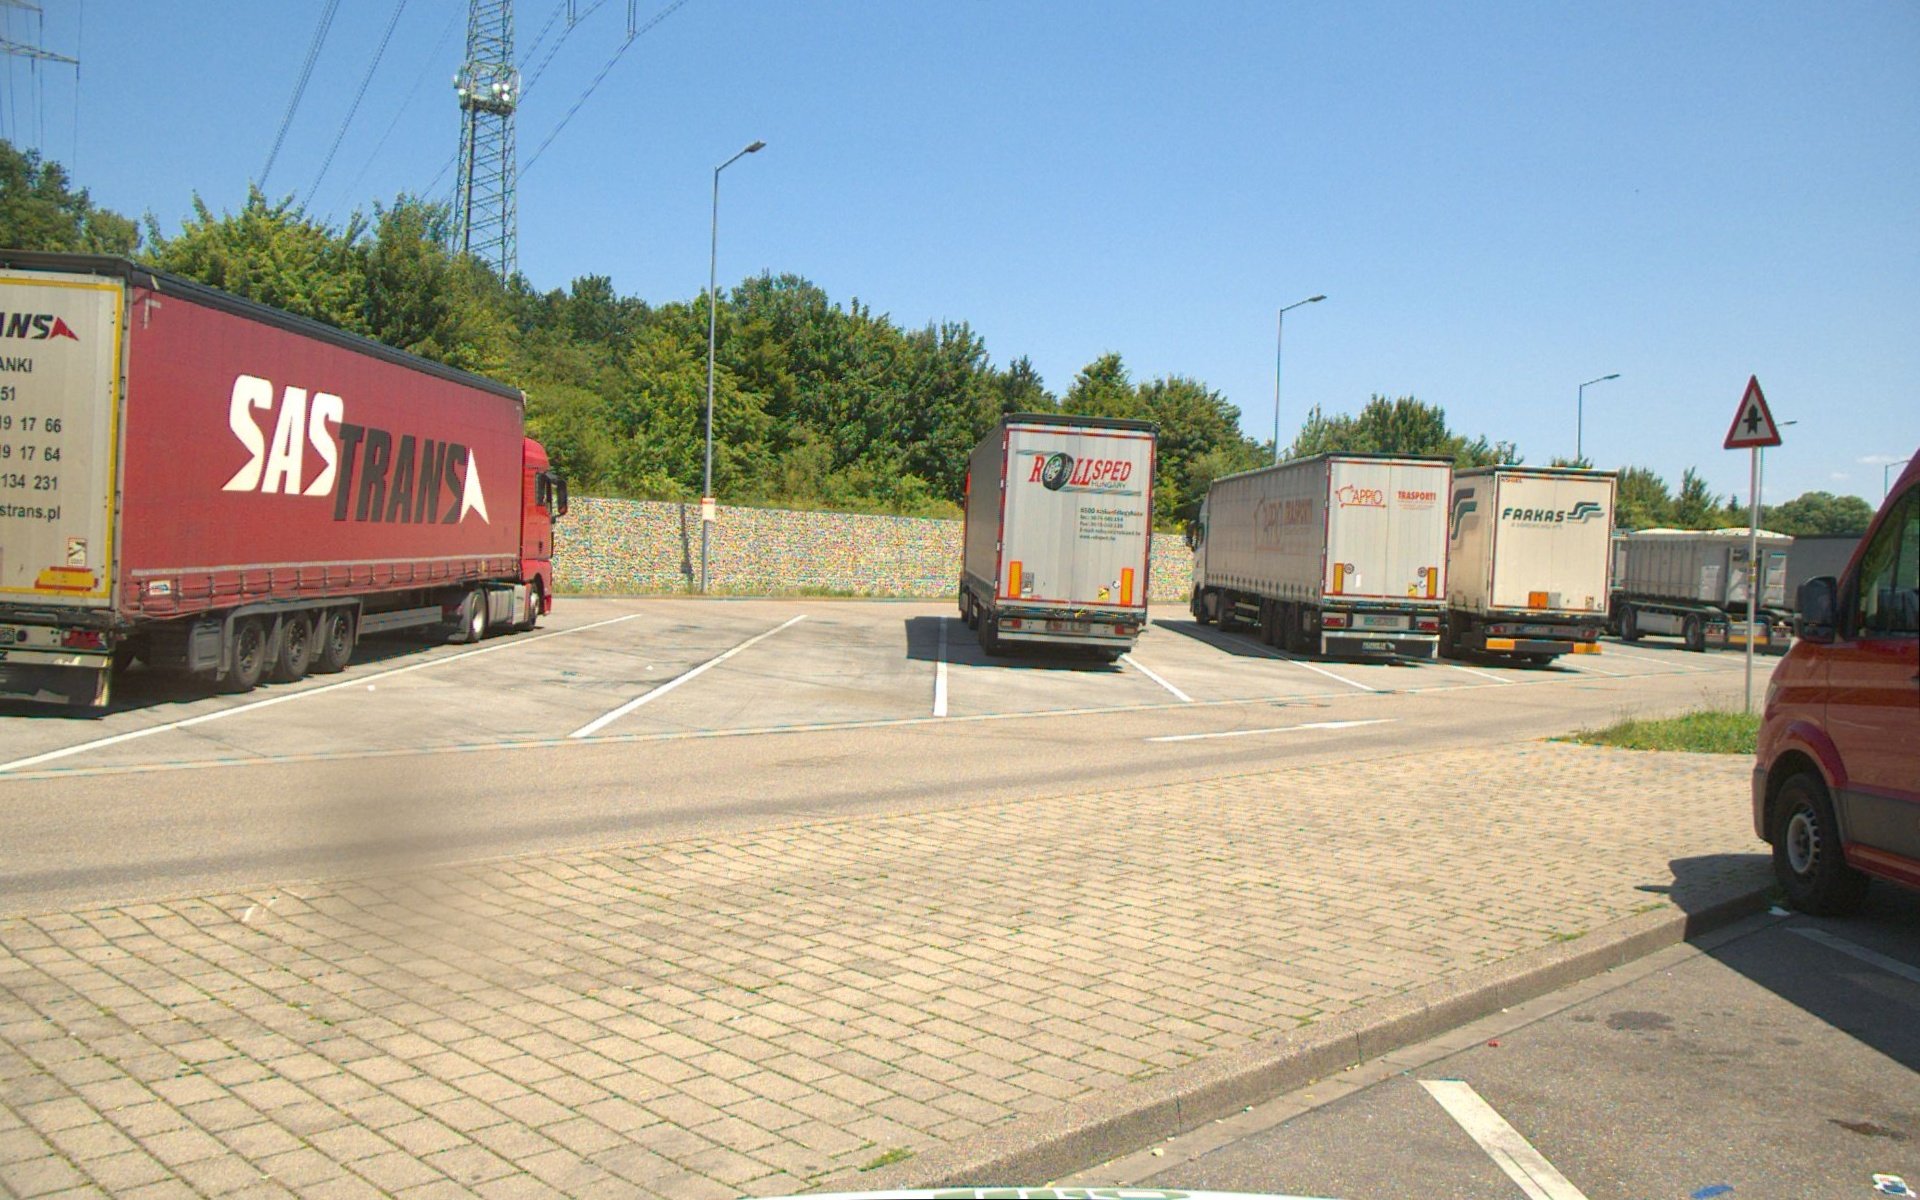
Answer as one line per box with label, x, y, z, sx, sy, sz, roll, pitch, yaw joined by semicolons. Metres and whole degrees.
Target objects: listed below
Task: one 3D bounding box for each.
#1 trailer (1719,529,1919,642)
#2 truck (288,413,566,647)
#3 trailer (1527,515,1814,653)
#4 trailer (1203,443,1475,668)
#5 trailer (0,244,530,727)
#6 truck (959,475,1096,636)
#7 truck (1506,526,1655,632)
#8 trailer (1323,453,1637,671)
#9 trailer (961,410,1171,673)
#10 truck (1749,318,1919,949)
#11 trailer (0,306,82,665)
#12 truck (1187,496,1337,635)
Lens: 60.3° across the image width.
trailer;34.796;-0.710;65.445;2.800;3.972;13.762;2;2;-1
truck;-8.793;-1.160;28.068;2.755;3.421;5.974;2;2;-1
trailer;21.843;-0.681;52.246;2.800;3.662;13.762;2;2;-1
trailer;8.256;-1.101;38.503;2.800;4.180;13.762;2;2;-1
trailer;-8.684;-1.268;21.252;2.764;4.141;13.763;2;2;-1
truck;1.482;-1.090;39.347;2.808;3.421;5.974;2;2;-1
truck;21.745;-0.794;58.341;2.808;3.421;5.974;2;2;-1
trailer;11.776;-0.990;39.567;2.800;4.180;13.762;2;2;-1
trailer;1.683;-1.174;33.150;2.800;4.040;13.761;2;2;-2
truck;5.000;0.155;5.518;1.969;2.697;6.457;1;0;3
trailer;-12.481;-1.257;15.796;2.651;4.173;10.389;2;2;-1
truck;8.134;-0.983;45.265;2.808;3.421;5.974;2;2;-1
